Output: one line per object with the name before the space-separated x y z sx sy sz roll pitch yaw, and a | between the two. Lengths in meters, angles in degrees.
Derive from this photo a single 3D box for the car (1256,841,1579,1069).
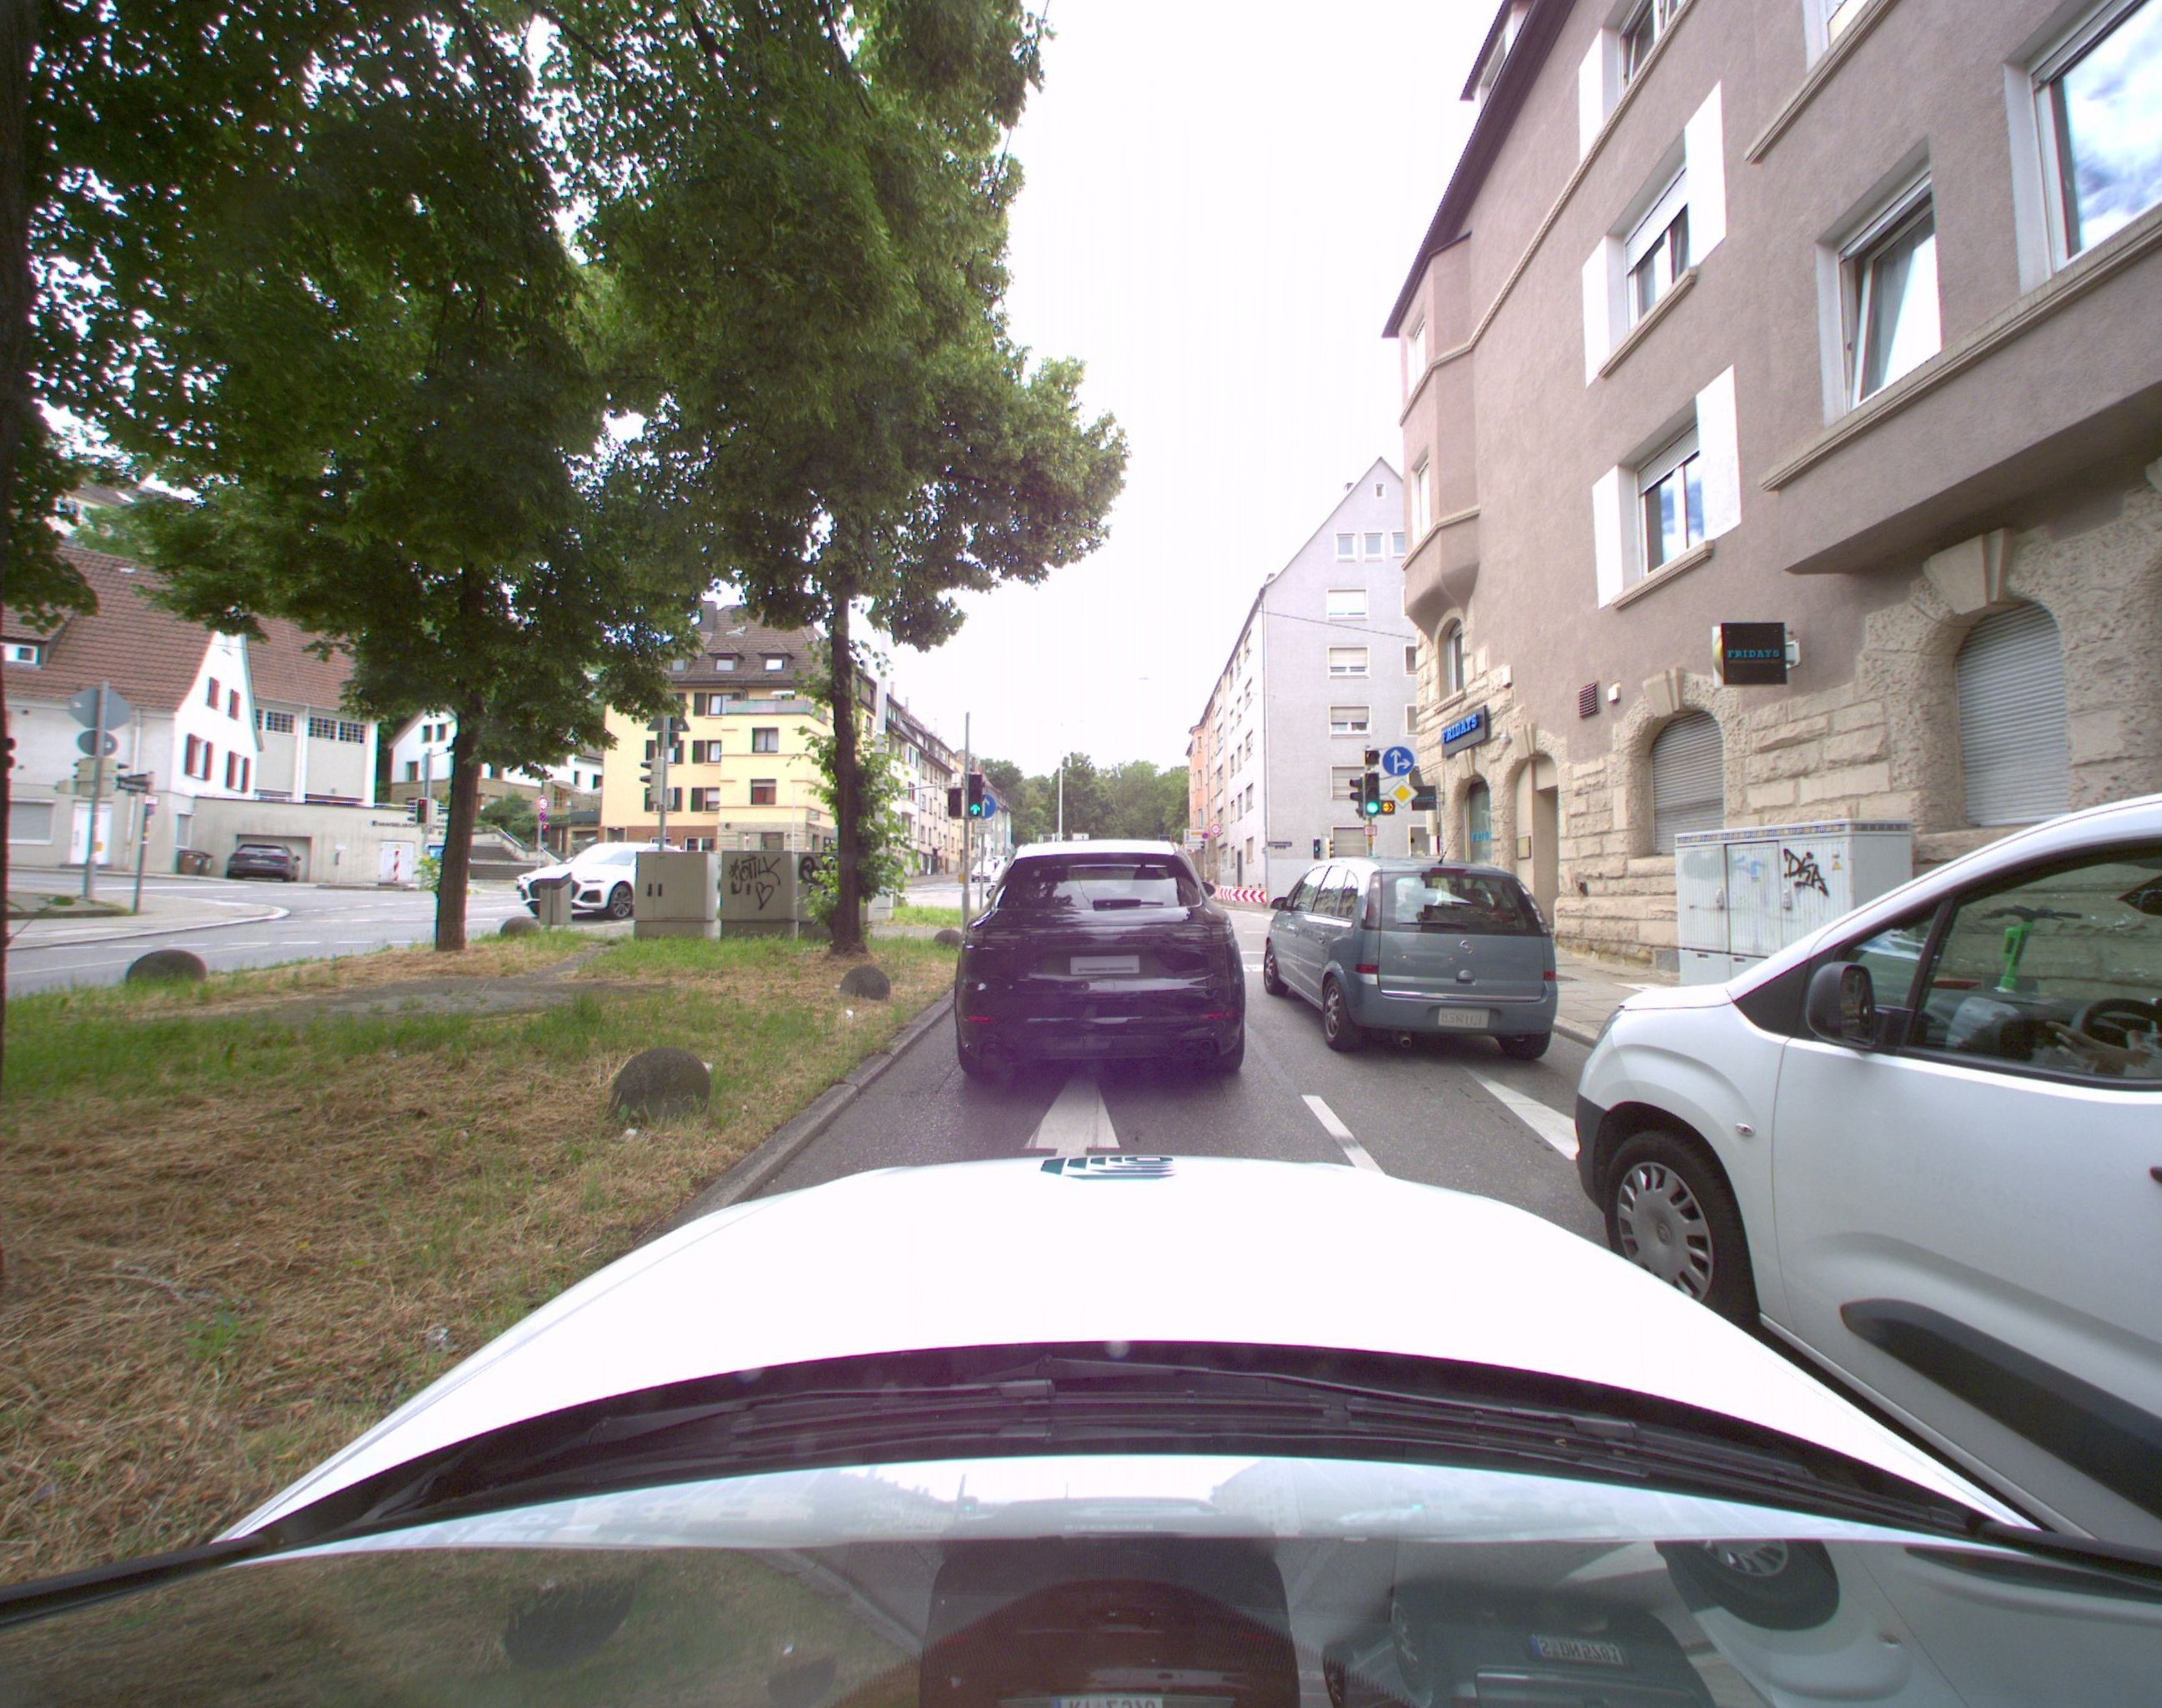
car | 2.860 0.750 7.794 1.622 1.598 3.670 3 0 2

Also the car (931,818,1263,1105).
car | 0.158 0.655 6.855 1.948 1.674 4.001 -1 -1 2

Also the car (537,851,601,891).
car | -25.354 0.794 40.317 3.477 1.596 1.881 7 4 44

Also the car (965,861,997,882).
car | -7.488 1.319 61.272 1.611 1.480 3.828 -1 -2 5

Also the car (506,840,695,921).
car | -10.827 0.506 18.800 1.891 1.627 4.484 -1 1 -4

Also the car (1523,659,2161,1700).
car | 2.849 0.588 1.073 1.969 1.775 4.676 3 0 0

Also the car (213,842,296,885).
car | -32.250 0.349 31.770 3.018 1.405 1.681 3 -4 35

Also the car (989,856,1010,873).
car | -10.468 1.352 104.853 2.008 2.045 4.669 0 -1 2

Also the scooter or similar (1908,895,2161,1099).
scooter or similar | 6.438 0.861 5.390 0.524 1.104 1.424 -1 -1 4

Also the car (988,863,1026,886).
car | -4.583 1.249 50.833 1.854 1.388 4.096 0 0 2

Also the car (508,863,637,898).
car | -19.993 0.994 32.127 4.155 1.279 1.628 0 -1 -40
